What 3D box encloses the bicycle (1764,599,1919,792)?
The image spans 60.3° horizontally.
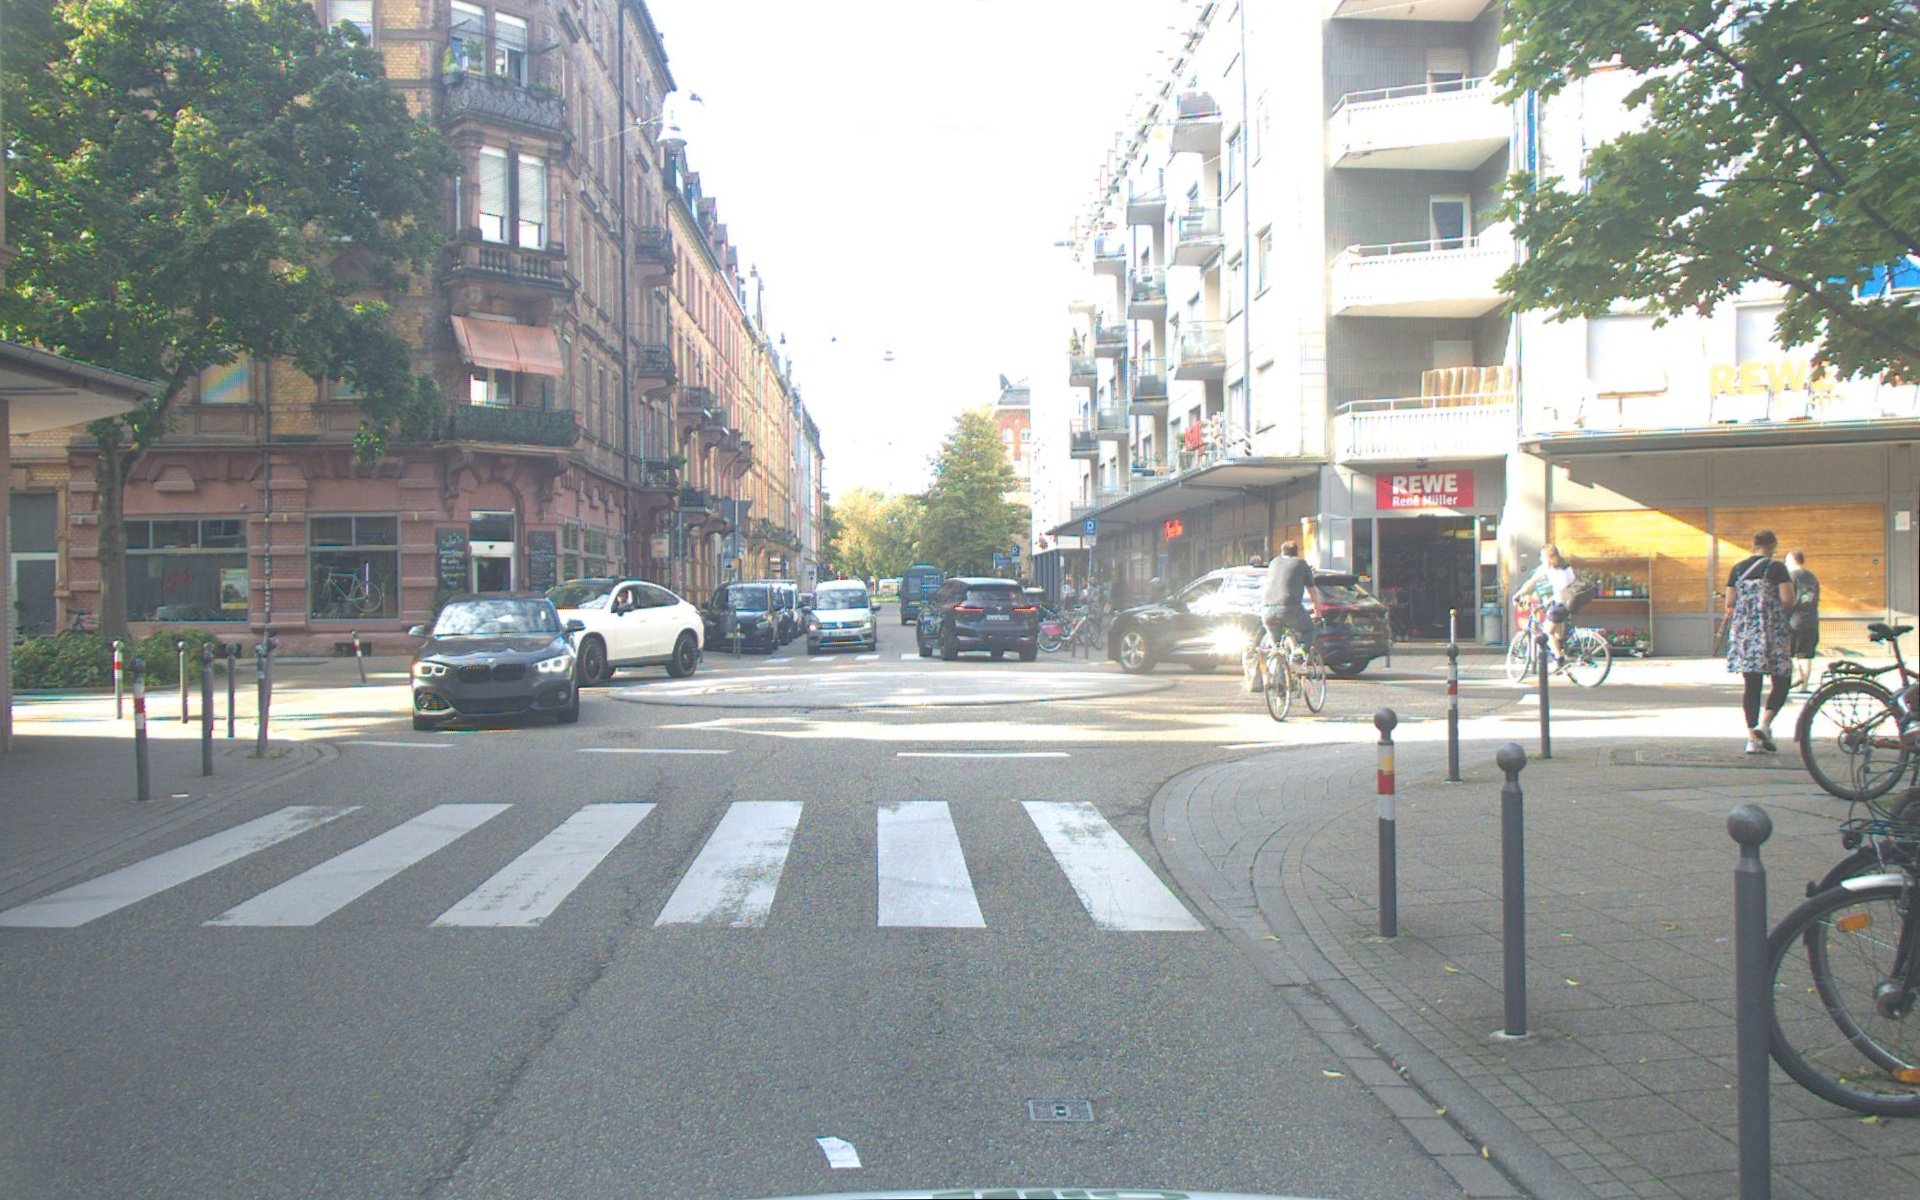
[{"bbox_3d":[5.965,0.553,9.986,1.884,1.113,0.653,-1,0,2],"label":"bicycle"}]

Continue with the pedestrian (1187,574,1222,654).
[{"bbox_3d":[5.375,0.303,36.332,0.725,1.742,0.734,-1,0,9],"label":"pedestrian"}]

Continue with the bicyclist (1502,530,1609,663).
[{"bbox_3d":[7.891,-0.050,21.932,0.935,1.697,1.001,-1,0,-41],"label":"bicyclist"}]

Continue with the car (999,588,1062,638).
[{"bbox_3d":[2.087,0.358,49.522,1.612,1.347,3.576,-3,0,-1],"label":"car"}]

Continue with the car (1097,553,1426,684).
[{"bbox_3d":[4.526,0.240,25.477,2.024,1.754,4.774,-4,2,-40],"label":"car"}]

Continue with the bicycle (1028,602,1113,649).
[{"bbox_3d":[2.595,0.606,39.058,1.959,1.063,0.532,-1,0,0],"label":"bicycle"}]

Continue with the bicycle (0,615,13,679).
[{"bbox_3d":[-19.727,0.937,31.550,2.840,1.218,0.632,-1,0,-6],"label":"bicycle"}]

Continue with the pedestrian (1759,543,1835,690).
[{"bbox_3d":[10.288,0.197,20.355,0.615,1.769,0.776,-1,0,10],"label":"pedestrian"}]

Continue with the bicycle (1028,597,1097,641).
[{"bbox_3d":[2.585,0.477,41.557,1.774,1.045,0.671,-1,0,-41],"label":"bicycle"}]

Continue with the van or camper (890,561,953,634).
[{"bbox_3d":[-1.743,-0.109,72.949,2.482,3.090,4.455,-1,0,-5],"label":"van or camper"}]

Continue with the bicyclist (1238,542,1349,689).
[{"bbox_3d":[3.524,0.155,17.478,0.918,1.510,0.744,0,0,37],"label":"bicyclist"}]

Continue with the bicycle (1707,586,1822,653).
[{"bbox_3d":[13.265,0.322,27.298,1.652,1.069,0.456,-1,0,38],"label":"bicycle"}]

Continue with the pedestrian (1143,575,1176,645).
[{"bbox_3d":[4.813,0.243,39.868,0.729,1.657,0.813,-1,0,9],"label":"pedestrian"}]

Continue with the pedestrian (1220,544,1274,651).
[{"bbox_3d":[5.142,-0.039,29.663,0.851,1.883,0.613,-1,0,3],"label":"pedestrian"}]

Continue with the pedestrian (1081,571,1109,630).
[{"bbox_3d":[4.370,0.009,53.525,0.715,1.897,1.063,-1,0,13],"label":"pedestrian"}]

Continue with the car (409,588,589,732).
[{"bbox_3d":[-5.166,0.625,18.989,1.719,1.461,4.199,0,0,-12],"label":"car"}]

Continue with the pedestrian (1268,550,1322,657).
[{"bbox_3d":[5.994,0.066,29.617,0.851,1.883,0.613,-1,0,3],"label":"pedestrian"}]

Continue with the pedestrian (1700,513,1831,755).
[{"bbox_3d":[6.288,0.253,12.901,0.768,1.811,0.790,-1,0,36],"label":"pedestrian"}]

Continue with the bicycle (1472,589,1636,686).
[{"bbox_3d":[7.864,0.483,21.956,0.706,1.220,1.945,-1,0,-41],"label":"bicycle"}]

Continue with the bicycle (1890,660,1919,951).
[{"bbox_3d":[4.129,0.734,5.421,0.385,1.058,1.900,-4,1,-31],"label":"bicycle"}]

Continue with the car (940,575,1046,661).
[{"bbox_3d":[0.626,0.342,34.607,1.954,1.646,3.998,-1,0,-3],"label":"car"}]

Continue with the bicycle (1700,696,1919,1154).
[{"bbox_3d":[2.750,0.805,3.865,0.542,1.058,1.837,-4,1,-31],"label":"bicycle"}]

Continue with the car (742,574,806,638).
[{"bbox_3d":[-6.247,0.194,55.942,1.954,2.049,3.996,-1,0,-4],"label":"car"}]

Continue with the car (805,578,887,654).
[{"bbox_3d":[-2.926,0.371,43.346,1.756,1.822,4.736,-2,0,0],"label":"car"}]

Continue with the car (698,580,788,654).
[{"bbox_3d":[-5.672,0.395,43.691,1.746,1.754,4.445,1,2,0],"label":"car"}]

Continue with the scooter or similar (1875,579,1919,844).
[{"bbox_3d":[5.284,0.536,8.199,1.219,1.296,0.665,-1,0,22],"label":"scooter or similar"}]

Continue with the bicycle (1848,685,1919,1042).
[{"bbox_3d":[3.449,0.795,4.402,0.343,1.058,1.998,-4,1,-29],"label":"bicycle"}]

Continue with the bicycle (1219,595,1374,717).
[{"bbox_3d":[3.624,0.559,17.632,0.654,1.198,2.488,0,0,36],"label":"bicycle"}]

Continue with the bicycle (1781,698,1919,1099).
[{"bbox_3d":[3.114,0.826,4.208,0.455,1.058,1.837,-4,1,-31],"label":"bicycle"}]

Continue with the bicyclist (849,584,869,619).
[{"bbox_3d":[-6.076,0.105,99.288,1.111,2.033,1.027,1,0,-7],"label":"bicyclist"}]

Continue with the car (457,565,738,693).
[{"bbox_3d":[-5.740,0.406,26.892,1.904,1.752,4.848,-1,2,24],"label":"car"}]
